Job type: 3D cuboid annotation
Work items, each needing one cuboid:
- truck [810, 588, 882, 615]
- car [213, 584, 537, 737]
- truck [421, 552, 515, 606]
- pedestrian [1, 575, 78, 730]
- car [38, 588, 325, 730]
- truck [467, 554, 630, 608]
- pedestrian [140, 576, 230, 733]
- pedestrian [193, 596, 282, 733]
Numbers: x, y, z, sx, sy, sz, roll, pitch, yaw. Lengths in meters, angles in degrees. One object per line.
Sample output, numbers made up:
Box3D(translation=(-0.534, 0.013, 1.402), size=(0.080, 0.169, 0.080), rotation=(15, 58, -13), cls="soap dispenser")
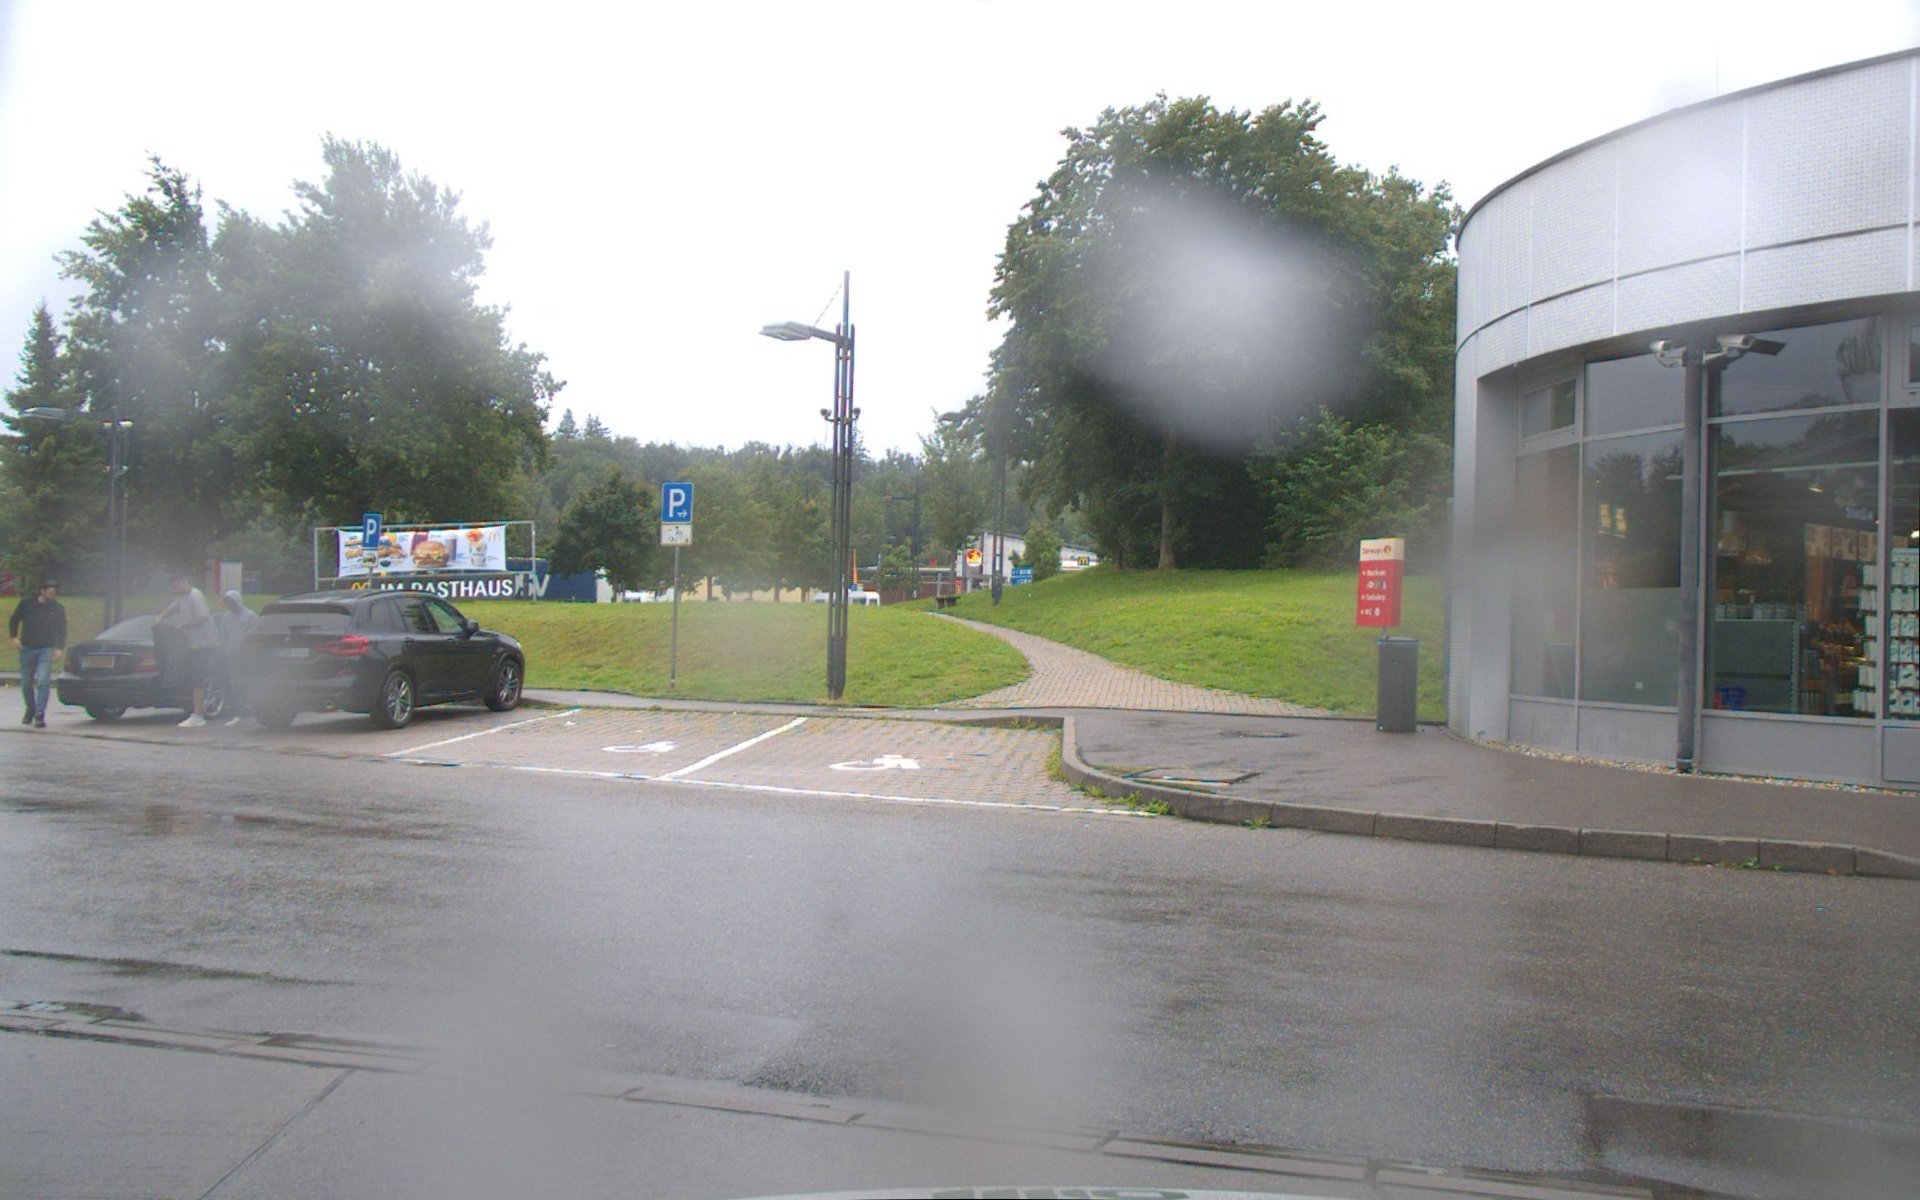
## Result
Box3D(translation=(-9.235, 0.141, 133.648), size=(5.298, 2.049, 2.366), rotation=(1, 0, 24), cls="truck")
Box3D(translation=(-7.366, 0.693, 21.353), size=(1.973, 1.741, 4.347), rotation=(-1, 1, 11), cls="car")
Box3D(translation=(-27.982, -1.167, 94.235), size=(2.142, 2.971, 5.384), rotation=(1, 0, 24), cls="truck")
Box3D(translation=(-11.686, 0.655, 21.017), size=(0.691, 1.920, 0.888), rotation=(1, -1, -21), cls="pedestrian")
Box3D(translation=(-10.574, 0.720, 22.871), size=(1.976, 1.741, 4.342), rotation=(-1, 1, -2), cls="car")
Box3D(translation=(-24.932, -1.084, 101.250), size=(2.142, 2.971, 13.092), rotation=(1, 0, 23), cls="truck")
Box3D(translation=(-9.751, 0.669, 20.844), size=(0.688, 1.920, 0.953), rotation=(1, -1, -4), cls="pedestrian")
Box3D(translation=(-9.002, 0.791, 20.645), size=(0.688, 1.660, 0.953), rotation=(1, -1, -3), cls="pedestrian")
